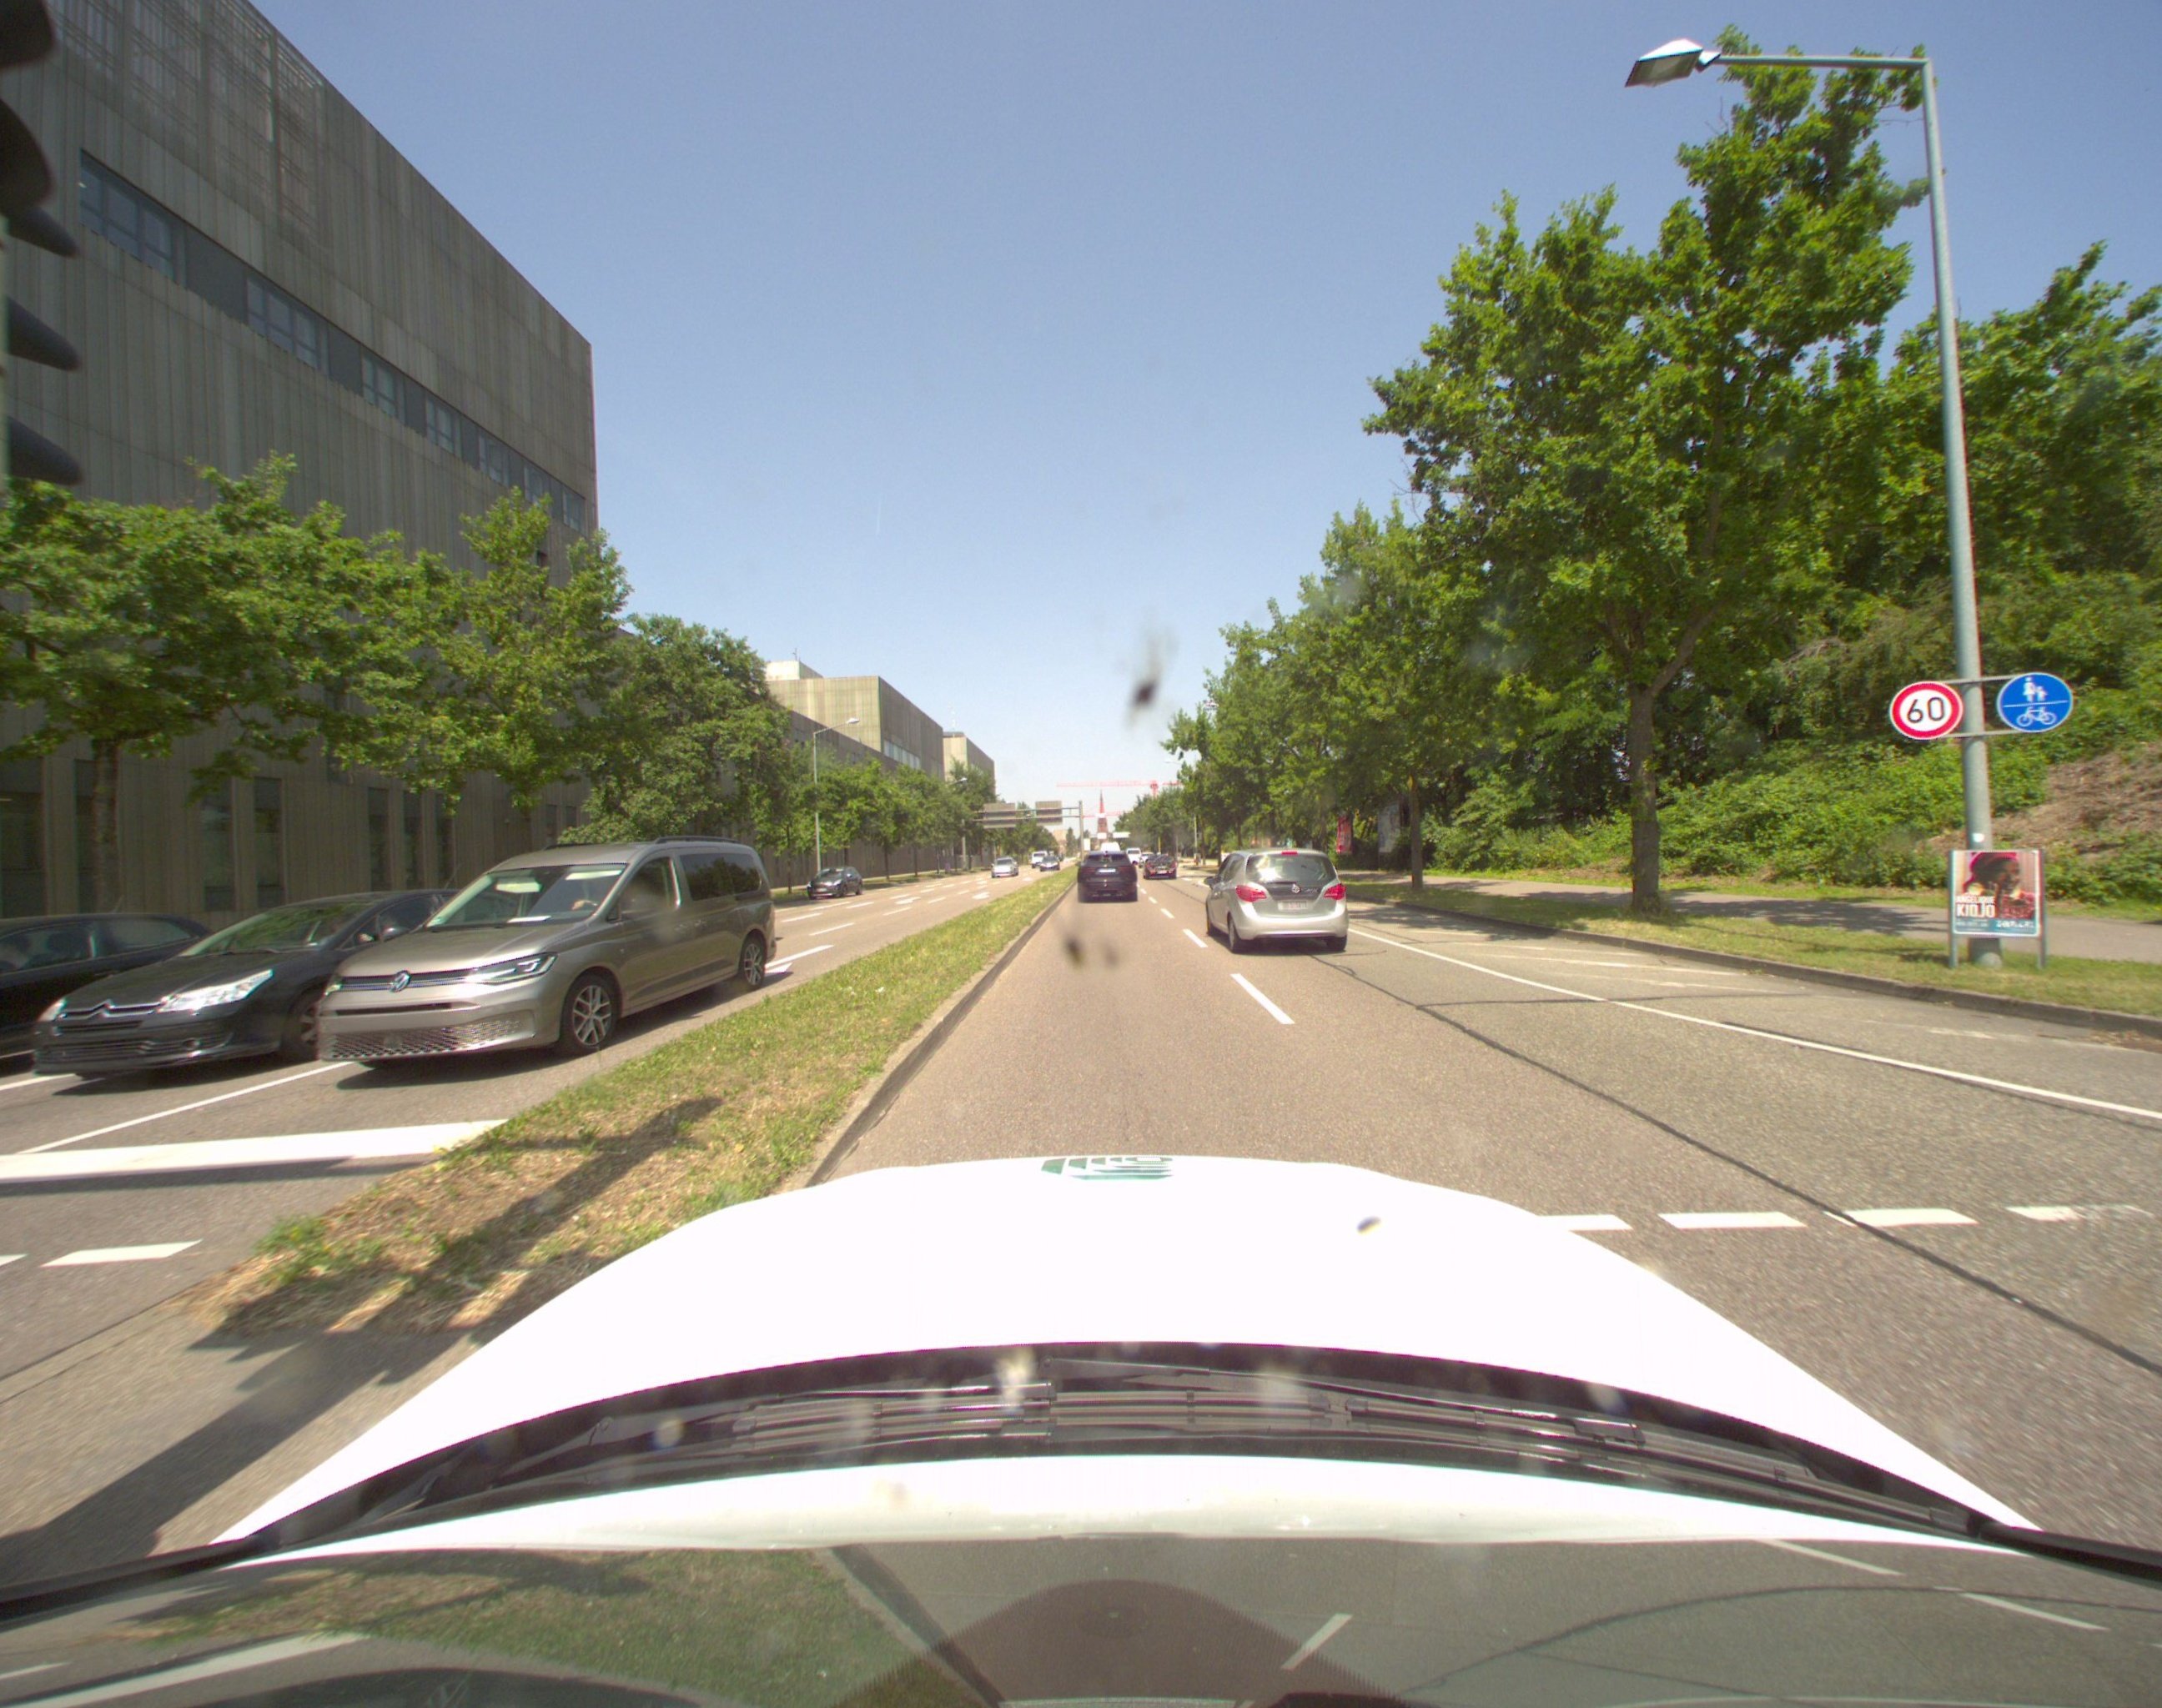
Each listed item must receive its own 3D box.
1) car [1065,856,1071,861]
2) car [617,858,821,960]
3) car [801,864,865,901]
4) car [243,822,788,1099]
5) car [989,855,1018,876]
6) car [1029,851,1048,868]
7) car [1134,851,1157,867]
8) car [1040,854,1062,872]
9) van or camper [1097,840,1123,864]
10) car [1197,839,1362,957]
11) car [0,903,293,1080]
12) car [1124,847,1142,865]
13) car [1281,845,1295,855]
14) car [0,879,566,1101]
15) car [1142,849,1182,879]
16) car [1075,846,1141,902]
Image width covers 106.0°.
[{"bbox_3d":[-3.866,1.425,240.553,1.805,1.427,4.357,-4,0,0],"label":"car"},{"bbox_3d":[-7.151,0.989,16.695,1.795,1.663,4.577,-4,0,4],"label":"car"},{"bbox_3d":[-12.680,1.402,41.859,1.805,1.543,4.369,-6,0,0],"label":"car"},{"bbox_3d":[-4.773,0.724,7.998,1.803,1.801,4.716,-4,0,2],"label":"car"},{"bbox_3d":[-5.970,0.849,63.020,1.760,1.460,4.144,-4,0,0],"label":"car"},{"bbox_3d":[-5.283,0.686,101.369,1.902,1.993,4.899,-4,0,1],"label":"car"},{"bbox_3d":[6.242,0.503,78.902,1.650,1.356,4.456,-3,-1,-2],"label":"car"},{"bbox_3d":[-2.782,0.819,75.797,1.804,1.466,4.057,-4,0,0],"label":"car"},{"bbox_3d":[2.957,-0.207,84.229,2.486,2.291,4.920,-3,-1,0],"label":"van or camper"},{"bbox_3d":[3.121,0.626,13.613,1.786,1.612,3.891,-2,0,0],"label":"car"},{"bbox_3d":[-10.604,1.370,7.851,1.805,1.417,4.249,-3,0,0],"label":"car"},{"bbox_3d":[6.150,0.267,96.562,1.986,2.013,4.002,-2,0,2],"label":"car"},{"bbox_3d":[28.000,-0.528,110.094,1.372,1.187,3.310,-3,0,8],"label":"car"},{"bbox_3d":[-7.493,1.089,8.230,1.805,1.446,4.249,-3,0,0],"label":"car"},{"bbox_3d":[4.569,0.574,46.522,2.005,1.517,4.465,-3,-1,3],"label":"car"},{"bbox_3d":[0.932,0.617,27.196,1.989,1.689,4.037,-1,0,3],"label":"car"}]
